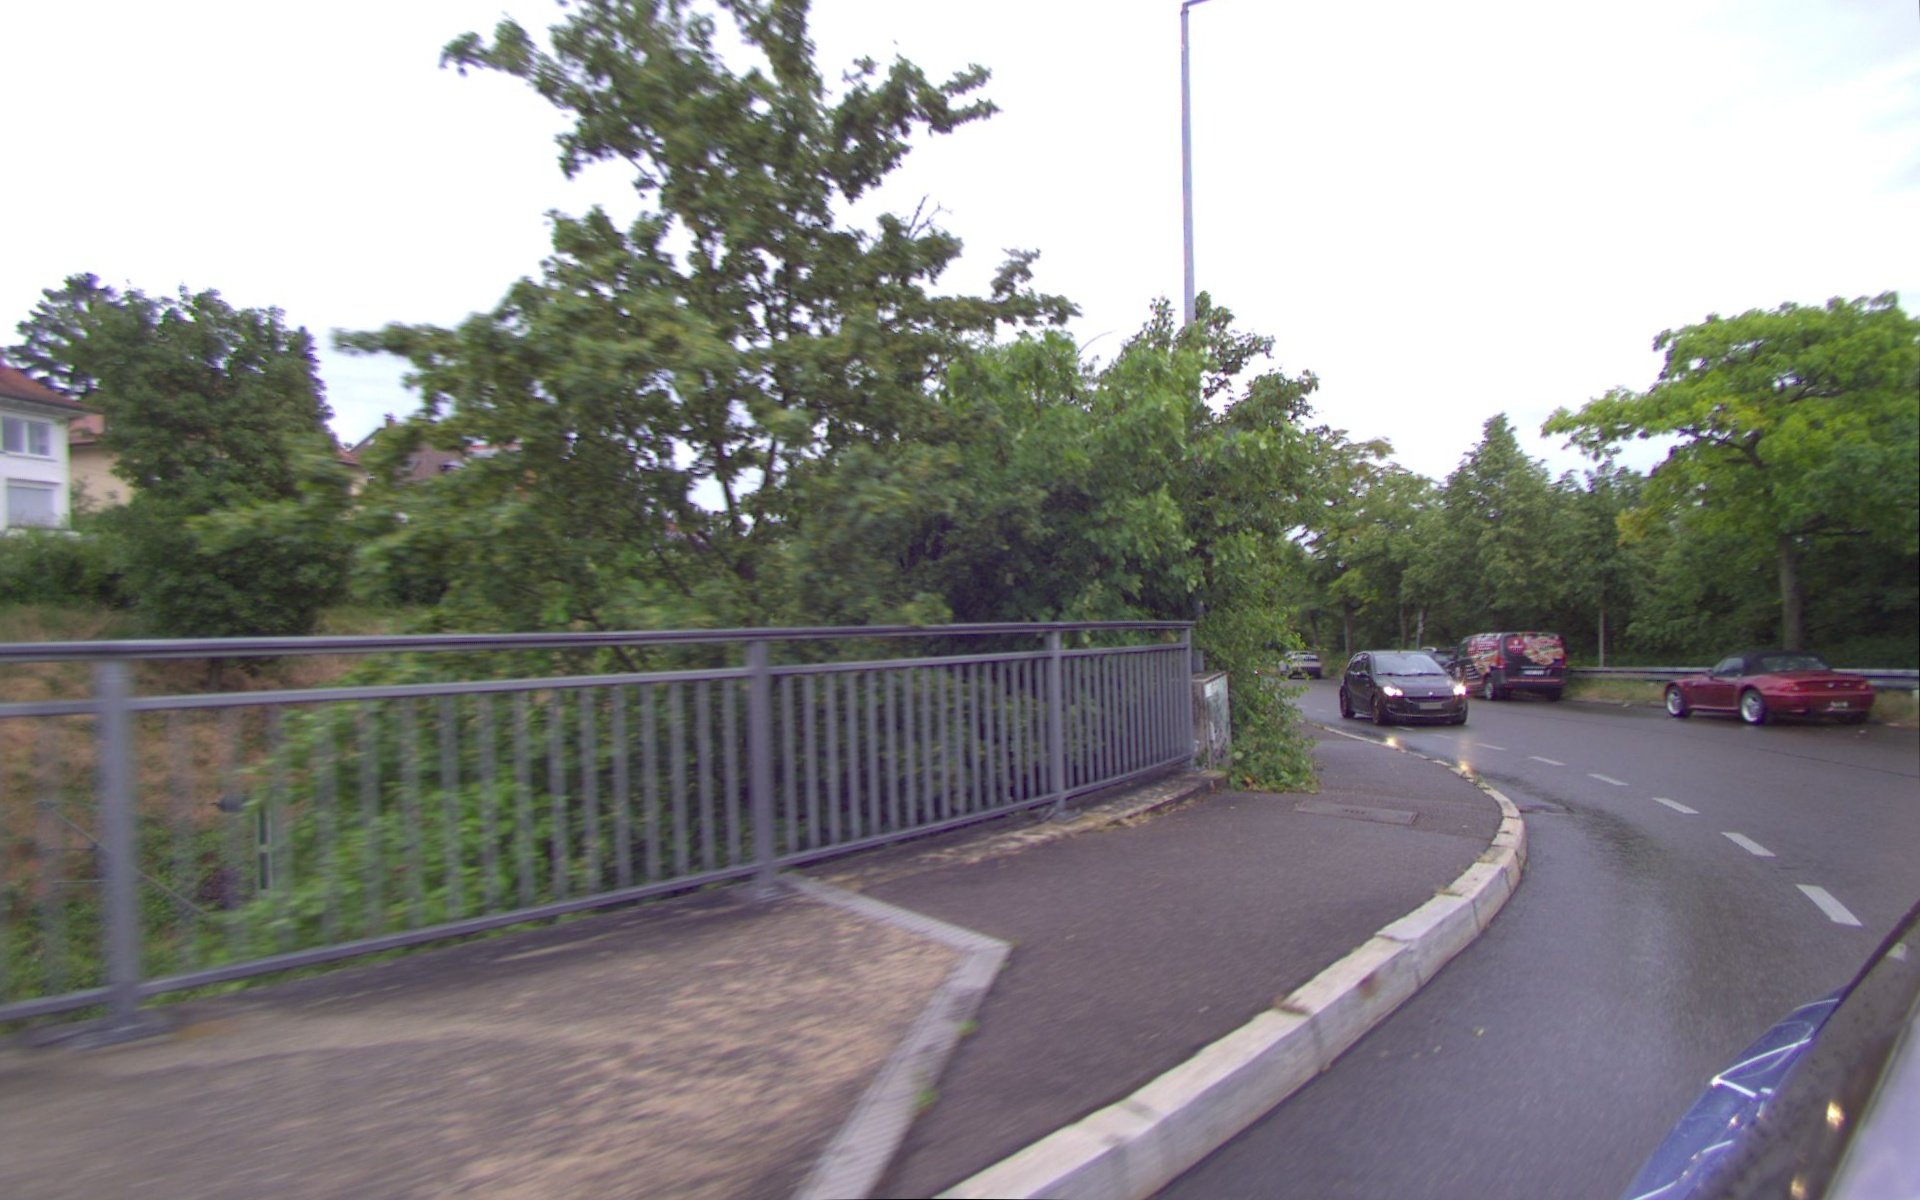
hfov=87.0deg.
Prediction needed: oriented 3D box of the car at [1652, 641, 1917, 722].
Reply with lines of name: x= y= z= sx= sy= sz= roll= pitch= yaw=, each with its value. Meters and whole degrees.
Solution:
car: x=14.957 y=1.437 z=18.731 sx=1.765 sy=1.314 sz=4.313 roll=-1 pitch=-3 yaw=8

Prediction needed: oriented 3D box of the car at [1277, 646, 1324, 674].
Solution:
car: x=18.531 y=3.258 z=55.229 sx=1.666 sy=1.456 sz=4.244 roll=-1 pitch=-3 yaw=8

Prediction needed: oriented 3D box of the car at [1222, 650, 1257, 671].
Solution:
car: x=20.445 y=4.416 z=74.184 sx=1.730 sy=1.421 sz=4.409 roll=-1 pitch=-3 yaw=6

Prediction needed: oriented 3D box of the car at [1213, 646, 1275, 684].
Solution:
car: x=12.256 y=2.792 z=43.900 sx=1.998 sy=1.482 sz=3.989 roll=-3 pitch=-3 yaw=8

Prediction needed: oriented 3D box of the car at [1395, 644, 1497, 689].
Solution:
car: x=16.908 y=2.293 z=35.443 sx=1.772 sy=1.456 sz=4.248 roll=-1 pitch=-3 yaw=5

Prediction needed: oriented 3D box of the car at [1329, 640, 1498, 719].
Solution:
car: x=9.174 y=1.618 z=20.925 sx=1.773 sy=1.446 sz=4.374 roll=-1 pitch=-4 yaw=5

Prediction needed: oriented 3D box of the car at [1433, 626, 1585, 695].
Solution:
car: x=16.115 y=1.769 z=30.091 sx=2.054 sy=1.843 sz=5.367 roll=-1 pitch=-3 yaw=7
